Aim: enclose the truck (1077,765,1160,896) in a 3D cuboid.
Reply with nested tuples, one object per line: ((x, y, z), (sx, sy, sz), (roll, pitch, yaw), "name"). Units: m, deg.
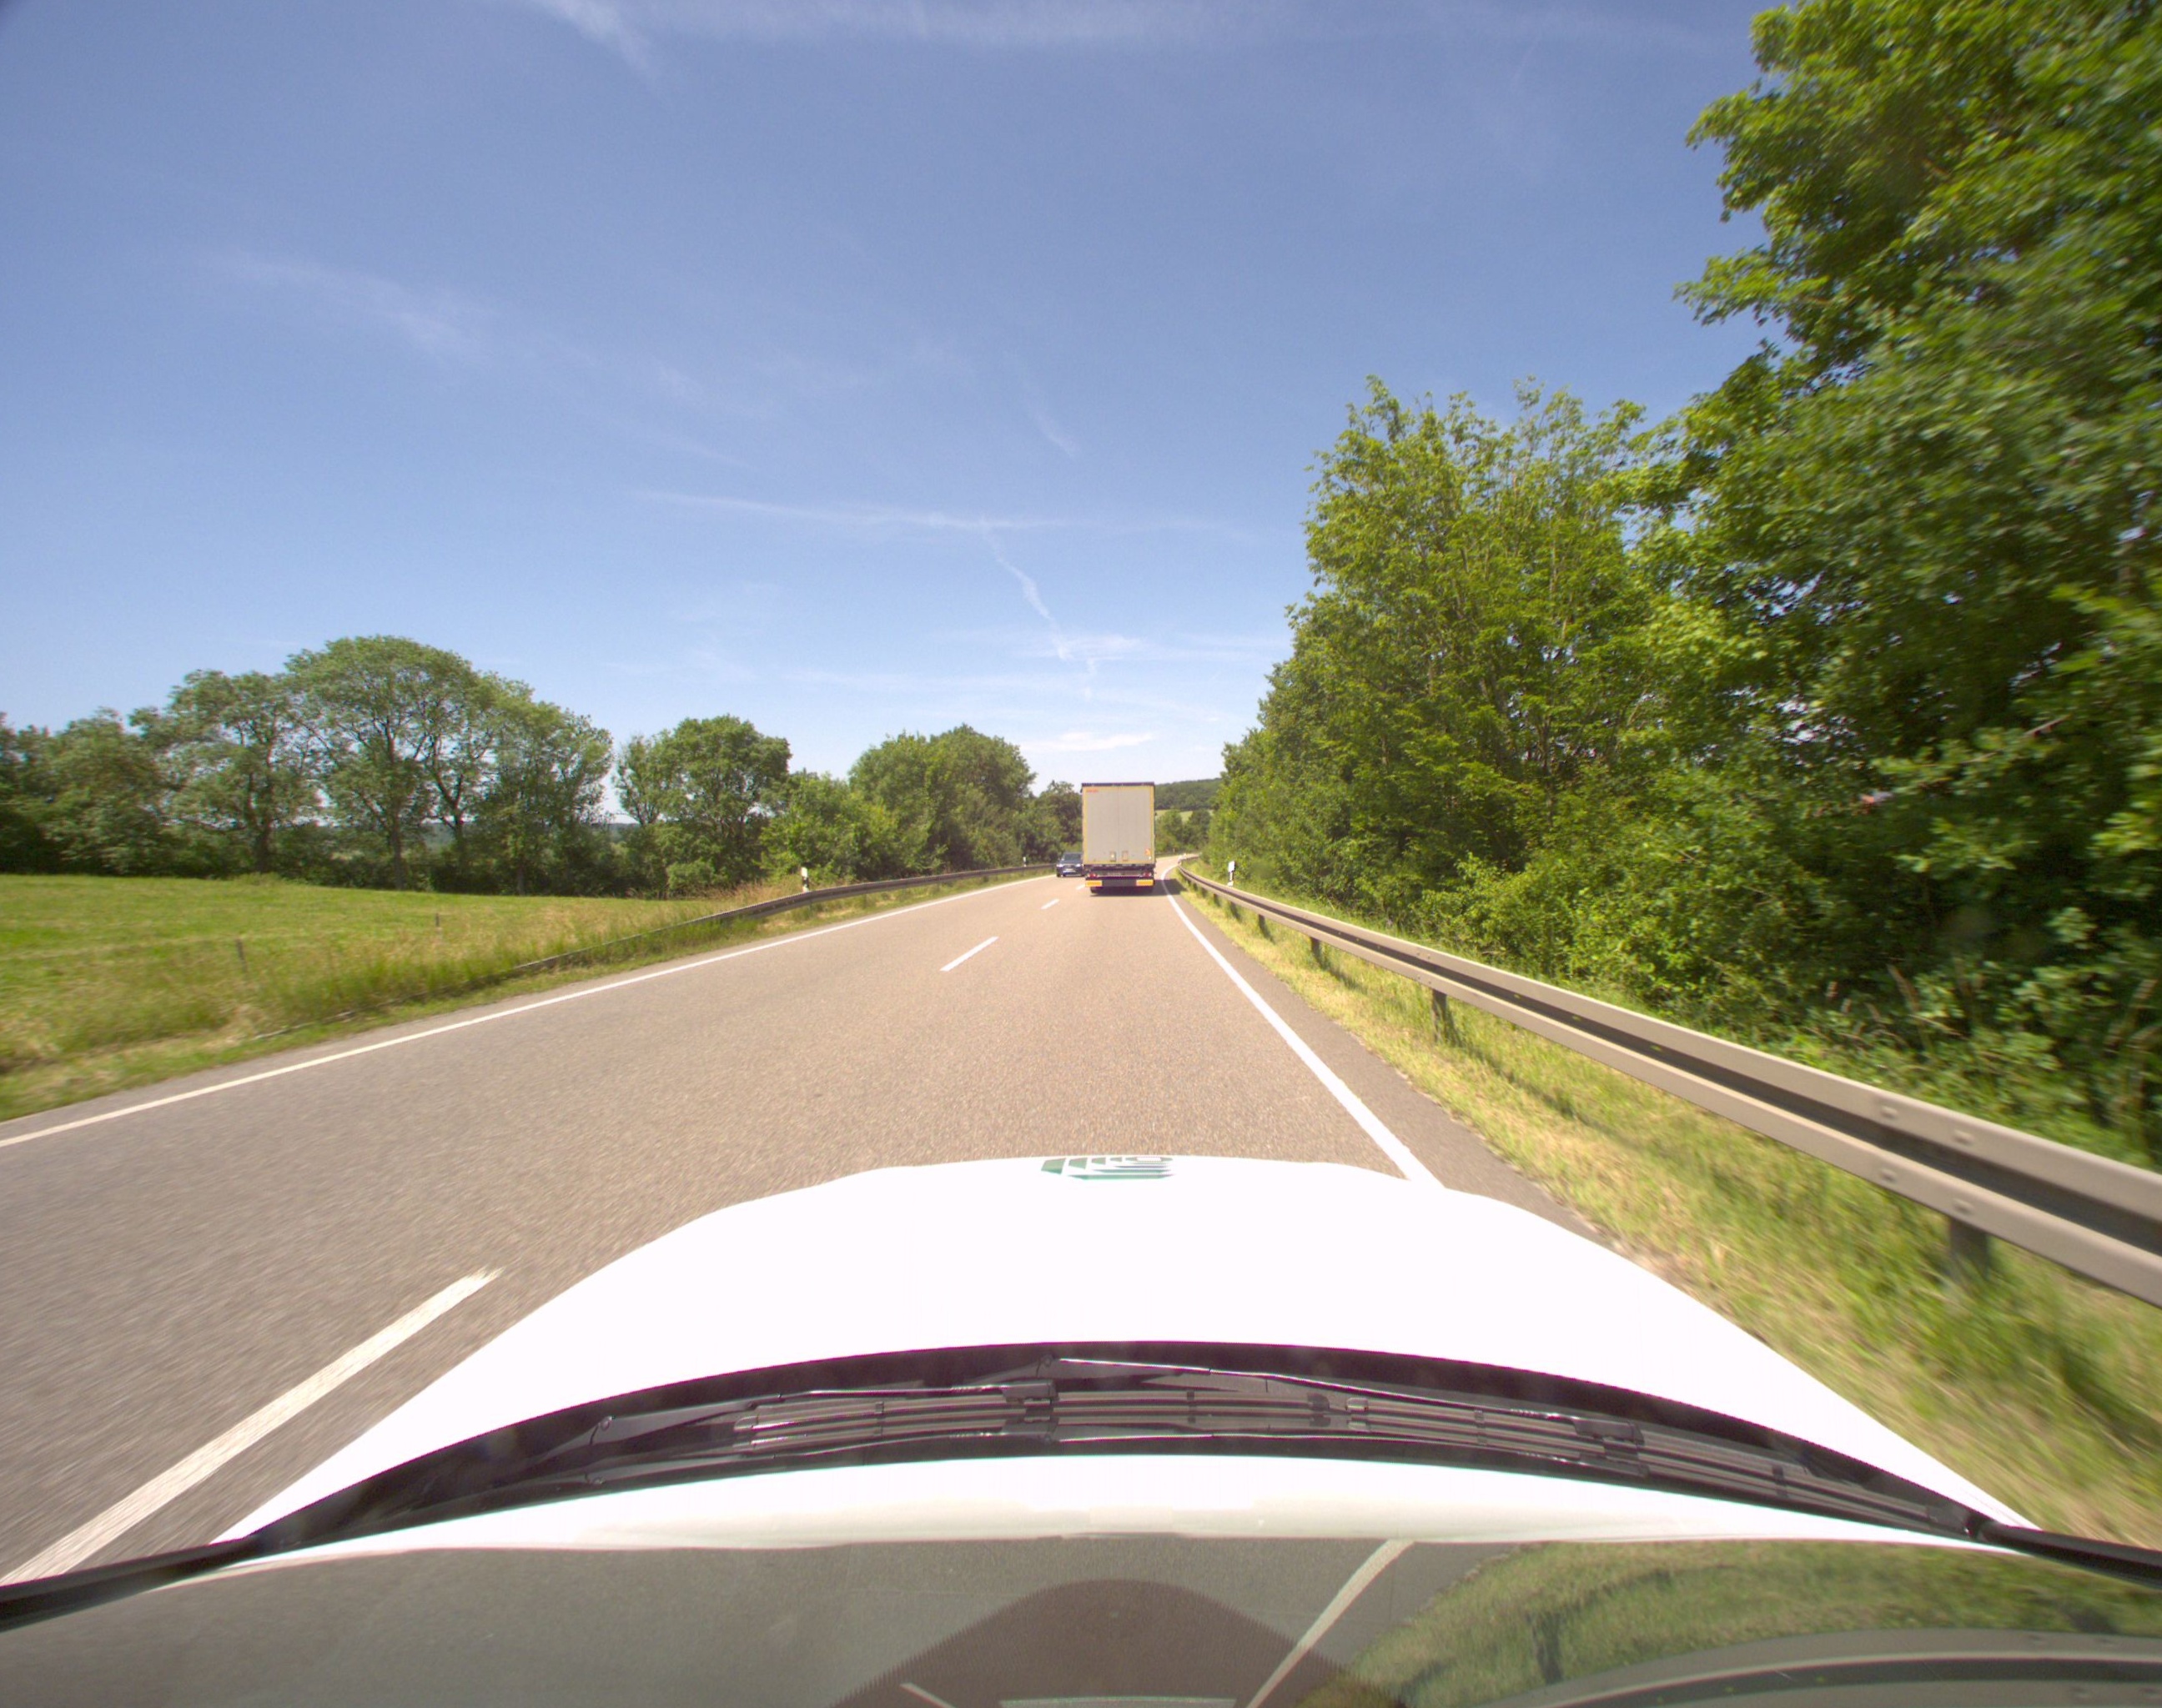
((1.871, -0.802, 34.169), (2.803, 4.532, 11.786), (0, 0, 6), "truck")

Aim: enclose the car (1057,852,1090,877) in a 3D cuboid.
((-0.479, 0.654, 52.973), (1.856, 1.527, 3.894), (-1, 0, 3), "car")
